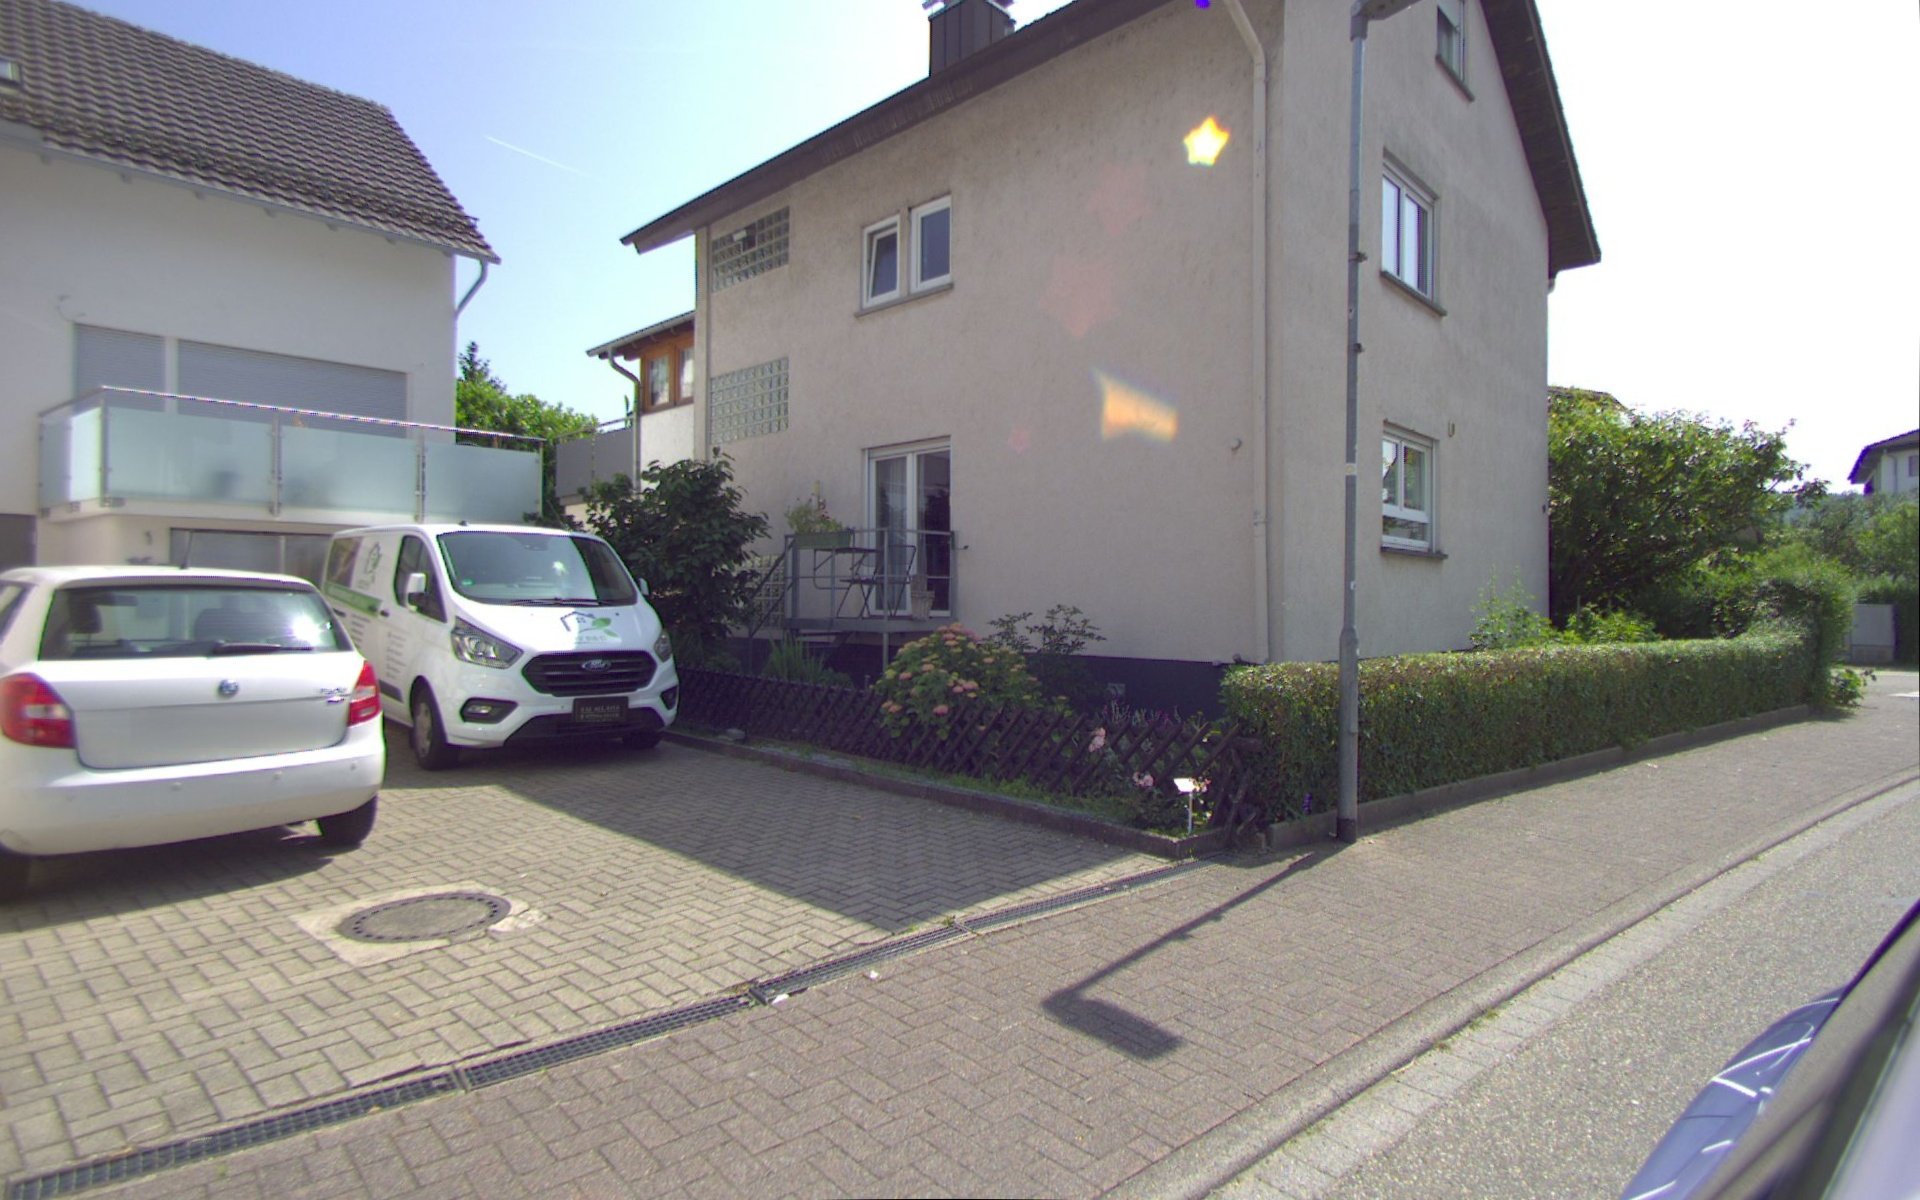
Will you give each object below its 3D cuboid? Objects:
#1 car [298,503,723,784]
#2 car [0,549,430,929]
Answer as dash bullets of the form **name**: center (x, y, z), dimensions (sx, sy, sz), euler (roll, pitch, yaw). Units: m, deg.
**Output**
- **car**: center (-4.432, 0.257, 9.482), dimensions (2.022, 1.937, 4.983), euler (1, 1, -44)
- **car**: center (-4.677, 0.501, 5.735), dimensions (3.742, 1.479, 1.656), euler (2, 1, 40)
